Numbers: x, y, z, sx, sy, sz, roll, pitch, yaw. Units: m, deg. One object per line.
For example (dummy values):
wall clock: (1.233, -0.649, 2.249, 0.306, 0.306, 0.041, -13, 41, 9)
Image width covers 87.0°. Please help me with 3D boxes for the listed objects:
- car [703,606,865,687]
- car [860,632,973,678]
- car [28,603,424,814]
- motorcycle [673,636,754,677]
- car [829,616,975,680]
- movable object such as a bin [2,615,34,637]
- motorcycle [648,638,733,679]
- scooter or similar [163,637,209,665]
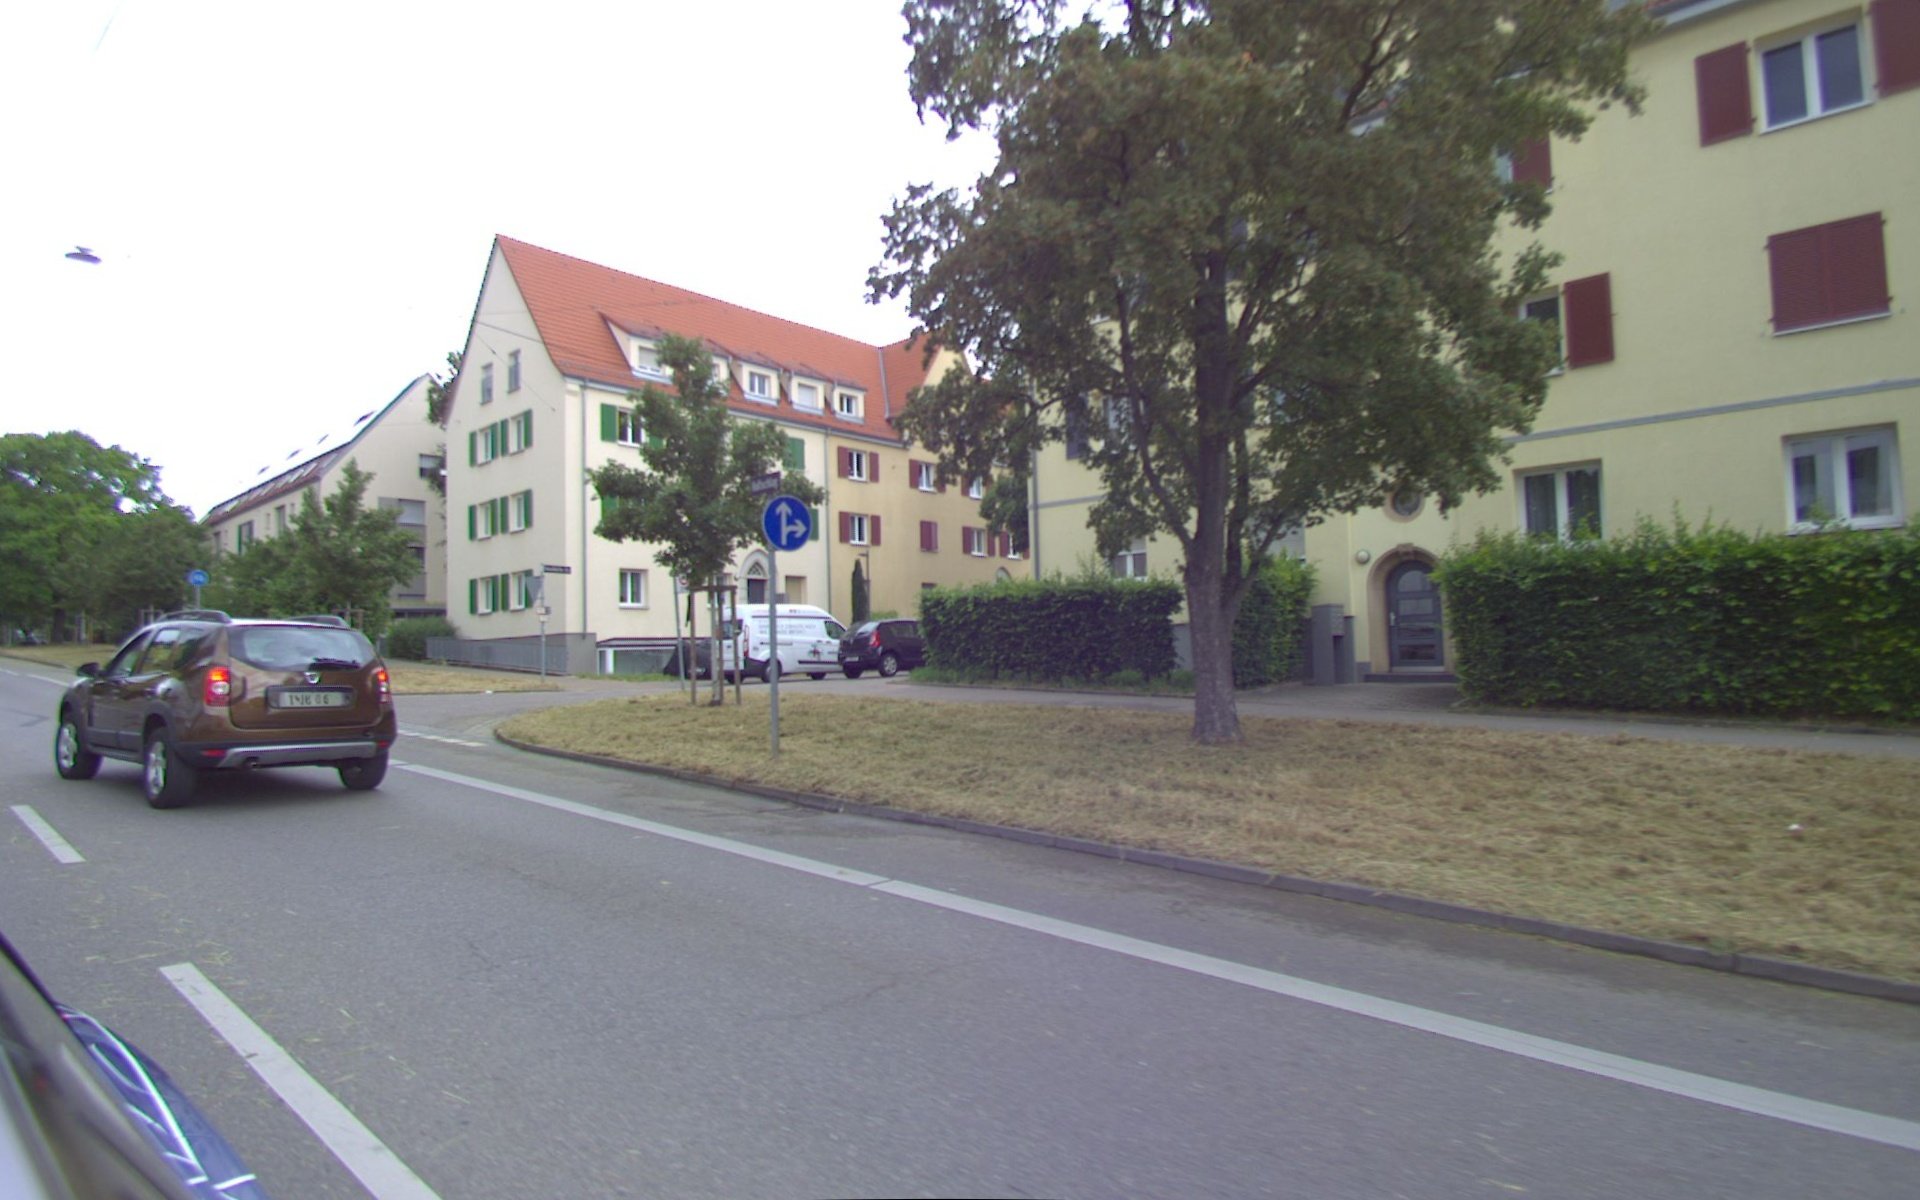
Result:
car: (-5.304, 1.380, 30.957, 1.994, 2.270, 4.667, -1, -2, 42)
car: (-1.462, 1.865, 35.098, 1.745, 1.478, 3.774, -2, -2, 44)
car: (-7.280, 0.898, 9.906, 4.352, 1.632, 1.882, -1, -2, 36)
motorcycle: (-8.199, 1.875, 33.660, 2.562, 1.288, 1.020, 0, -2, -16)
car: (-1.507, 1.266, 27.408, 1.690, 1.542, 3.864, -6, -5, 41)
movable object such as a bin: (-84.844, 2.318, 91.150, 3.234, 1.918, 1.088, -1, -2, 27)
motorcycle: (-8.602, 1.852, 32.280, 2.562, 1.288, 1.020, 1, -2, -16)
scooter or similar: (-30.789, 2.023, 40.276, 0.466, 1.094, 1.357, -2, -3, 37)
